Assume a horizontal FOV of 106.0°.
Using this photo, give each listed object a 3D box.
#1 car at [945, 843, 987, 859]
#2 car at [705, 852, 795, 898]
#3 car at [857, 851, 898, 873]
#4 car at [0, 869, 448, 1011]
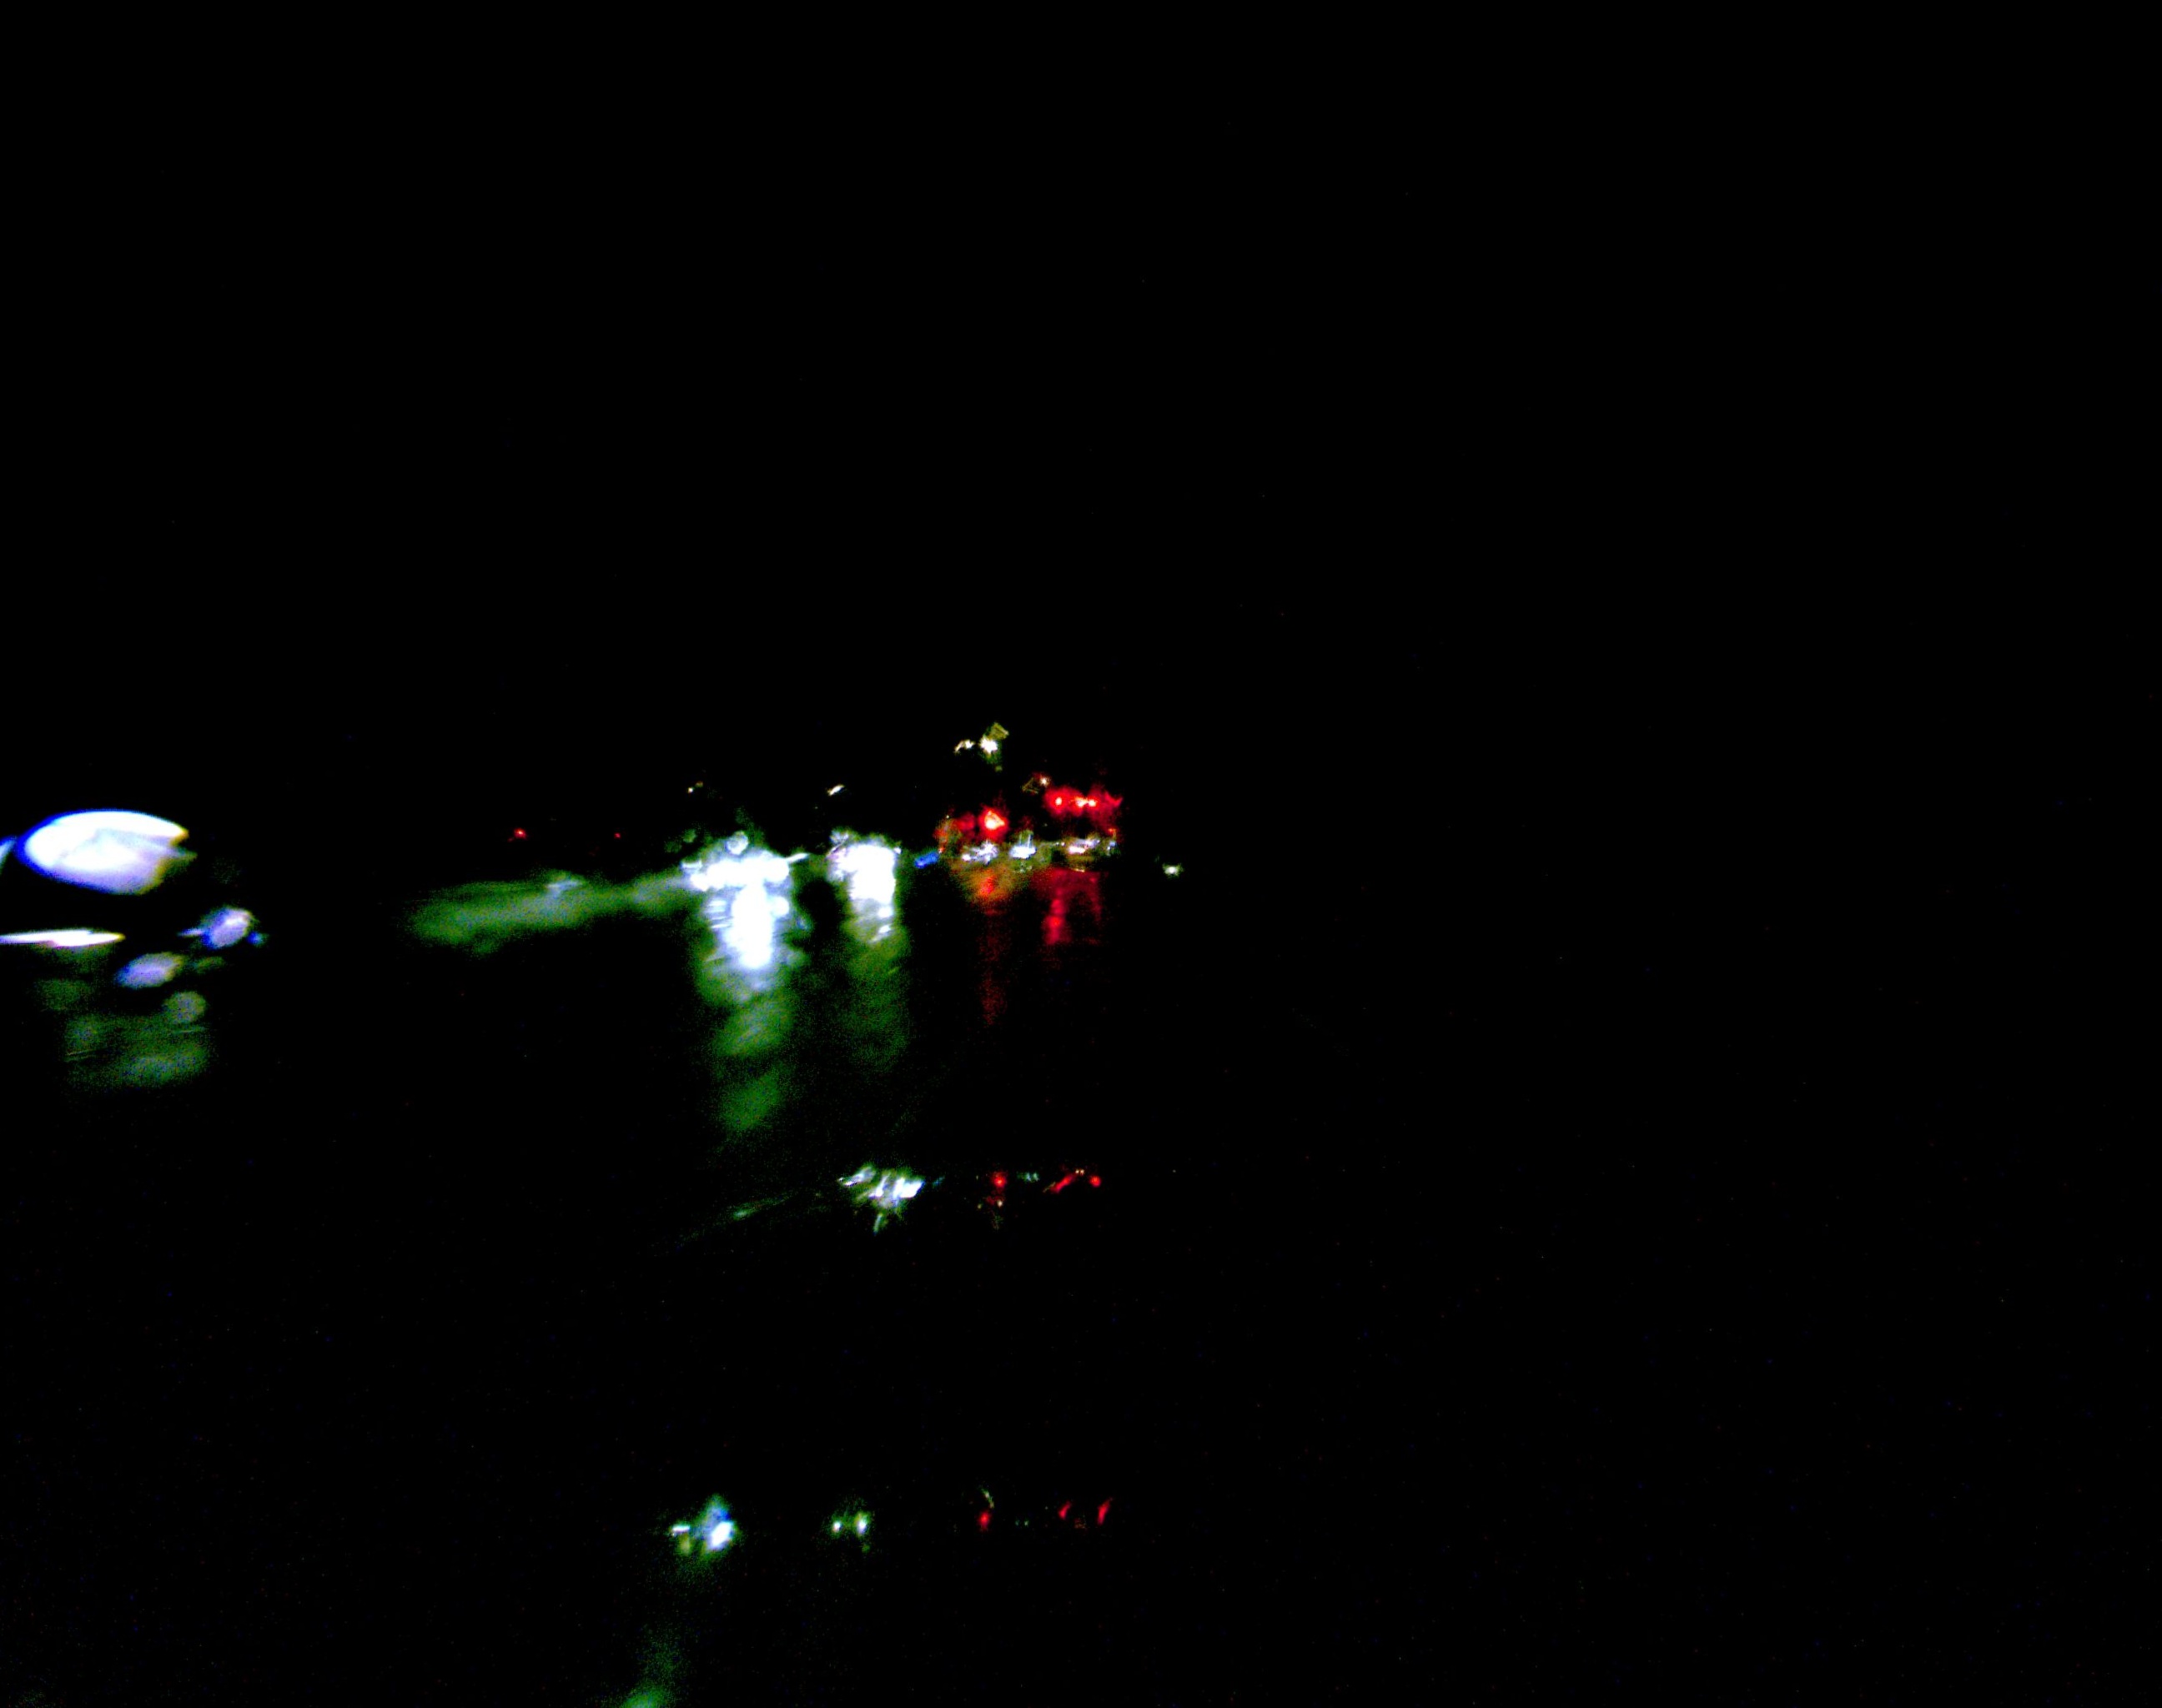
[{"bbox_3d":[-11.934,-0.330,84.419,3.969,1.662,2.002,0,0,4],"label":"car"},{"bbox_3d":[-12.037,0.718,29.888,1.786,1.441,3.852,-3,1,-3],"label":"car"},{"bbox_3d":[-13.604,0.495,54.698,1.872,1.397,4.244,-1,0,-4],"label":"car"},{"bbox_3d":[-11.153,0.961,11.009,1.828,1.442,4.486,0,0,-3],"label":"car"}]
